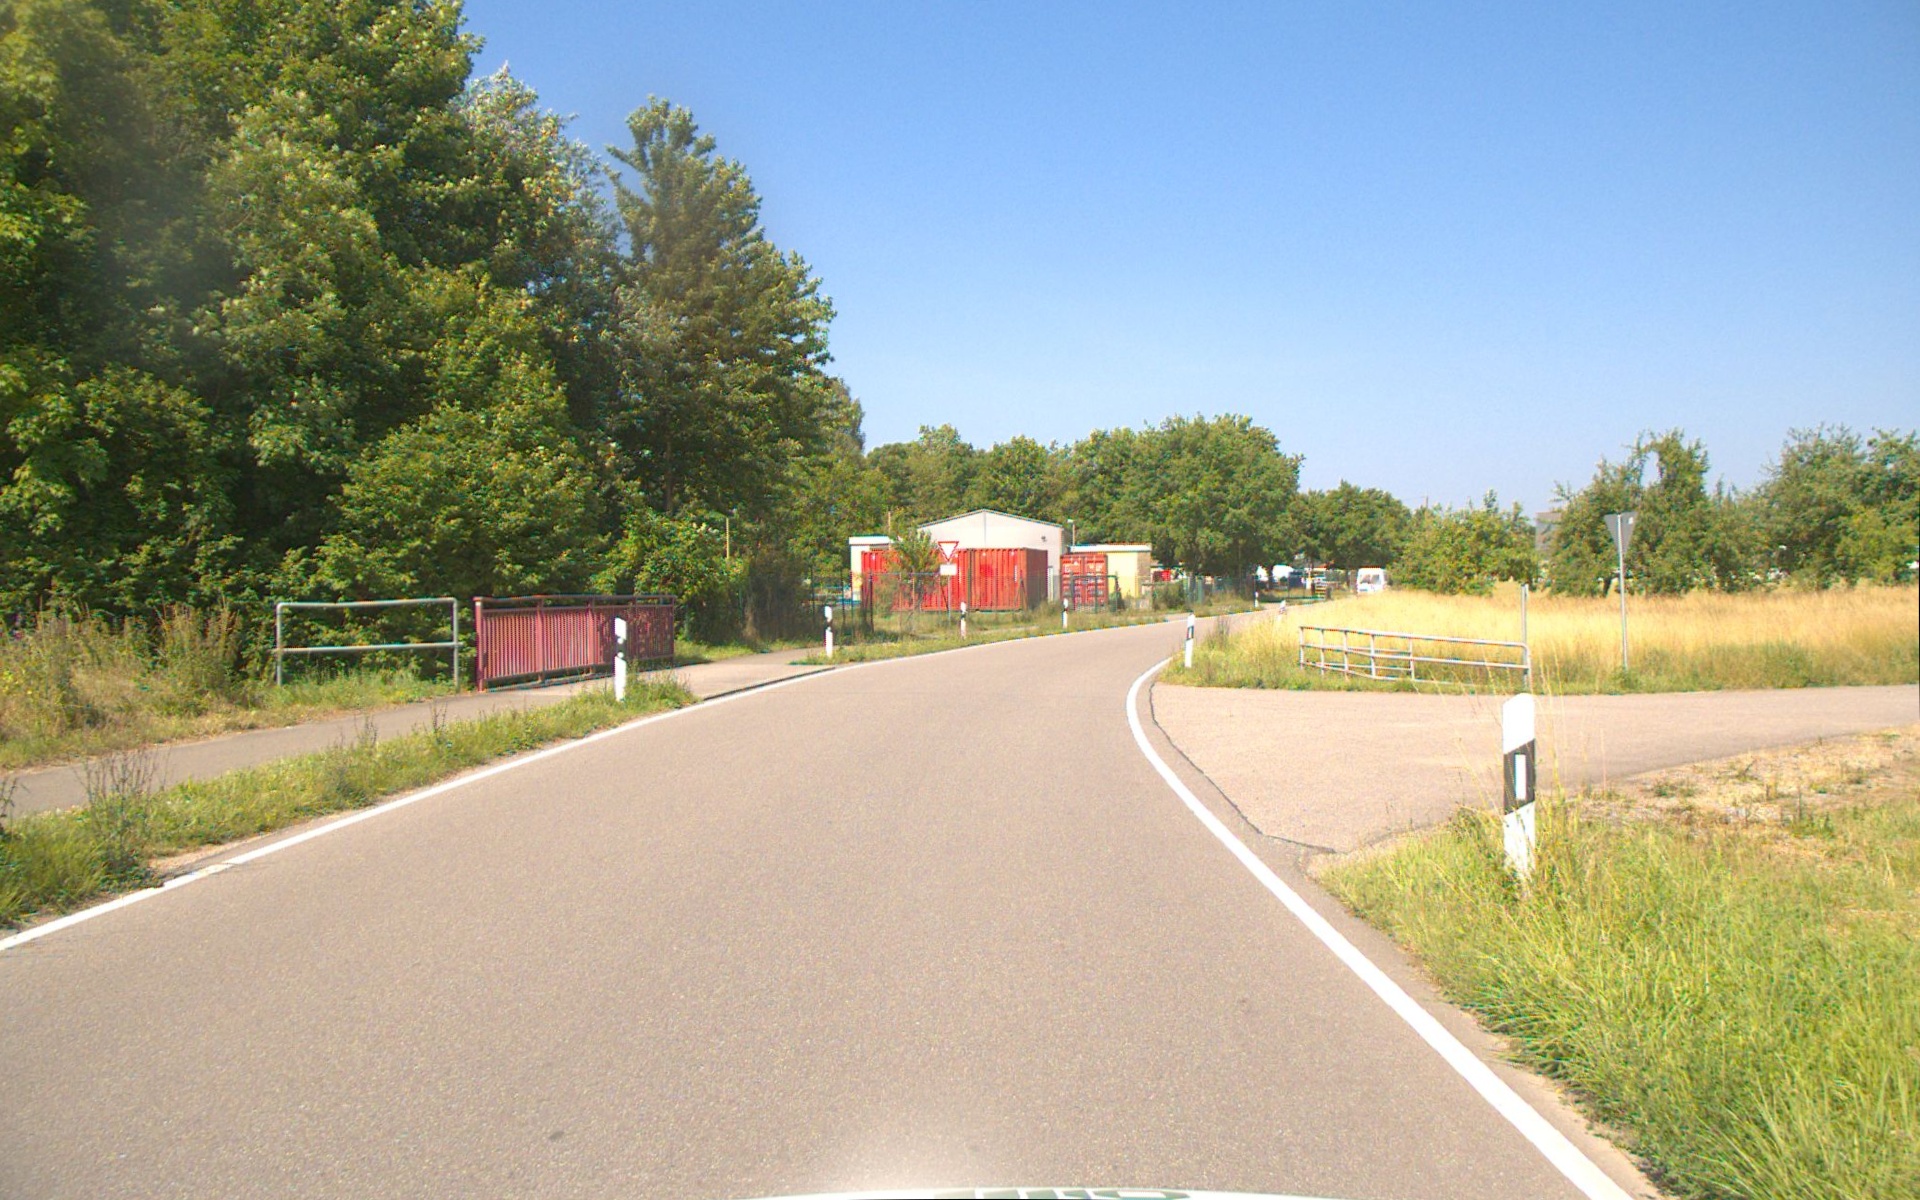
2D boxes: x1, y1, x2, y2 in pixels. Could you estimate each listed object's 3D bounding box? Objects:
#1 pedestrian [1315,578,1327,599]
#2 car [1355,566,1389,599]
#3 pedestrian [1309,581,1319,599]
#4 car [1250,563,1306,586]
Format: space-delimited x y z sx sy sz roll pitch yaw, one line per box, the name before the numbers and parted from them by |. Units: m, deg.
pedestrian | 32.635 -1.046 149.541 0.709 1.834 0.706 -1 0 42
car | 29.831 -1.307 119.623 1.952 2.305 4.728 -1 0 19
pedestrian | 31.894 -0.931 149.047 0.667 1.593 0.714 -1 0 42
car | 33.081 -2.665 172.166 5.511 2.305 1.989 -1 0 -20
